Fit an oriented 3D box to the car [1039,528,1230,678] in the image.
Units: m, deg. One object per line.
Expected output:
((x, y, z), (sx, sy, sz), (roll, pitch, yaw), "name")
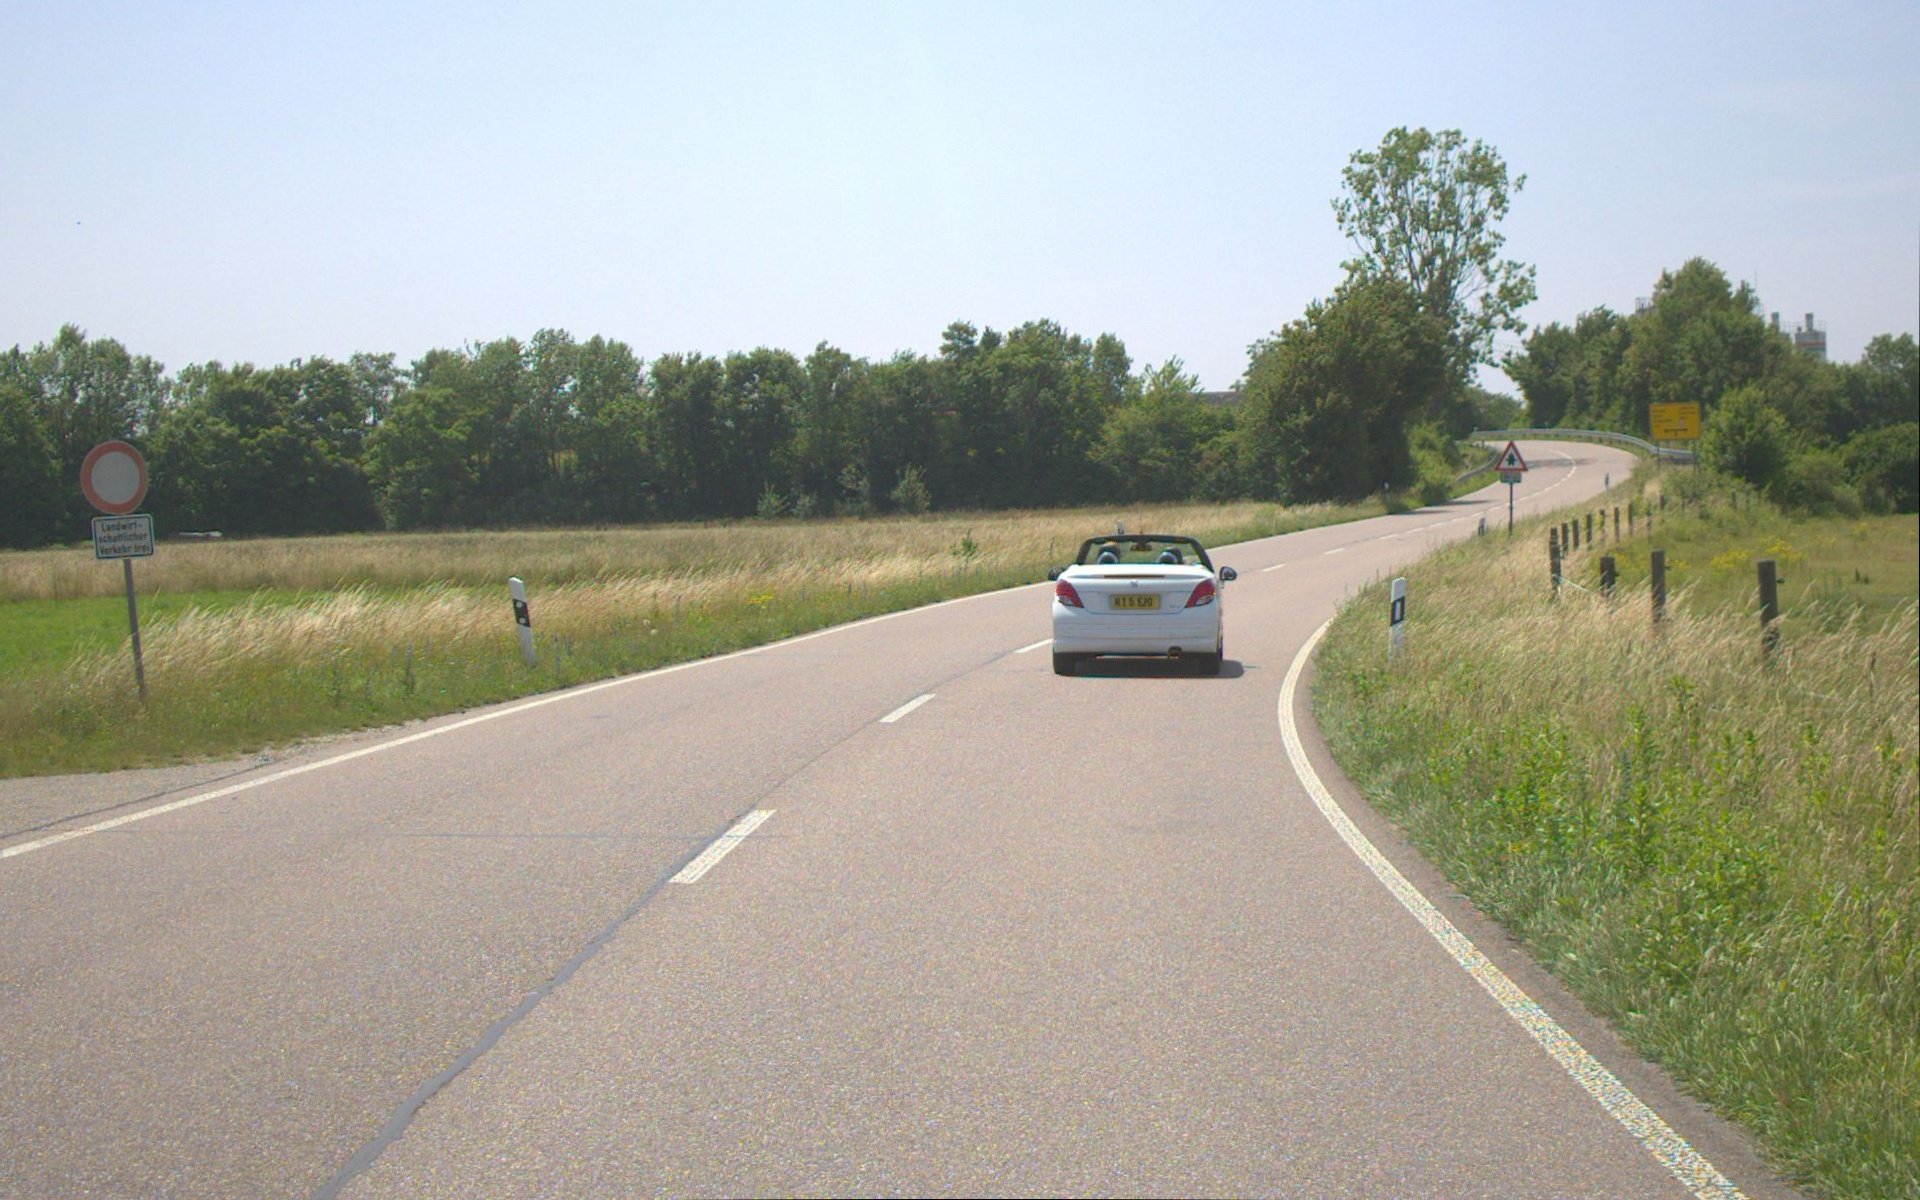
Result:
((1.855, -0.012, 35.655), (1.851, 1.374, 4.000), (1, 2, 4), "car")
